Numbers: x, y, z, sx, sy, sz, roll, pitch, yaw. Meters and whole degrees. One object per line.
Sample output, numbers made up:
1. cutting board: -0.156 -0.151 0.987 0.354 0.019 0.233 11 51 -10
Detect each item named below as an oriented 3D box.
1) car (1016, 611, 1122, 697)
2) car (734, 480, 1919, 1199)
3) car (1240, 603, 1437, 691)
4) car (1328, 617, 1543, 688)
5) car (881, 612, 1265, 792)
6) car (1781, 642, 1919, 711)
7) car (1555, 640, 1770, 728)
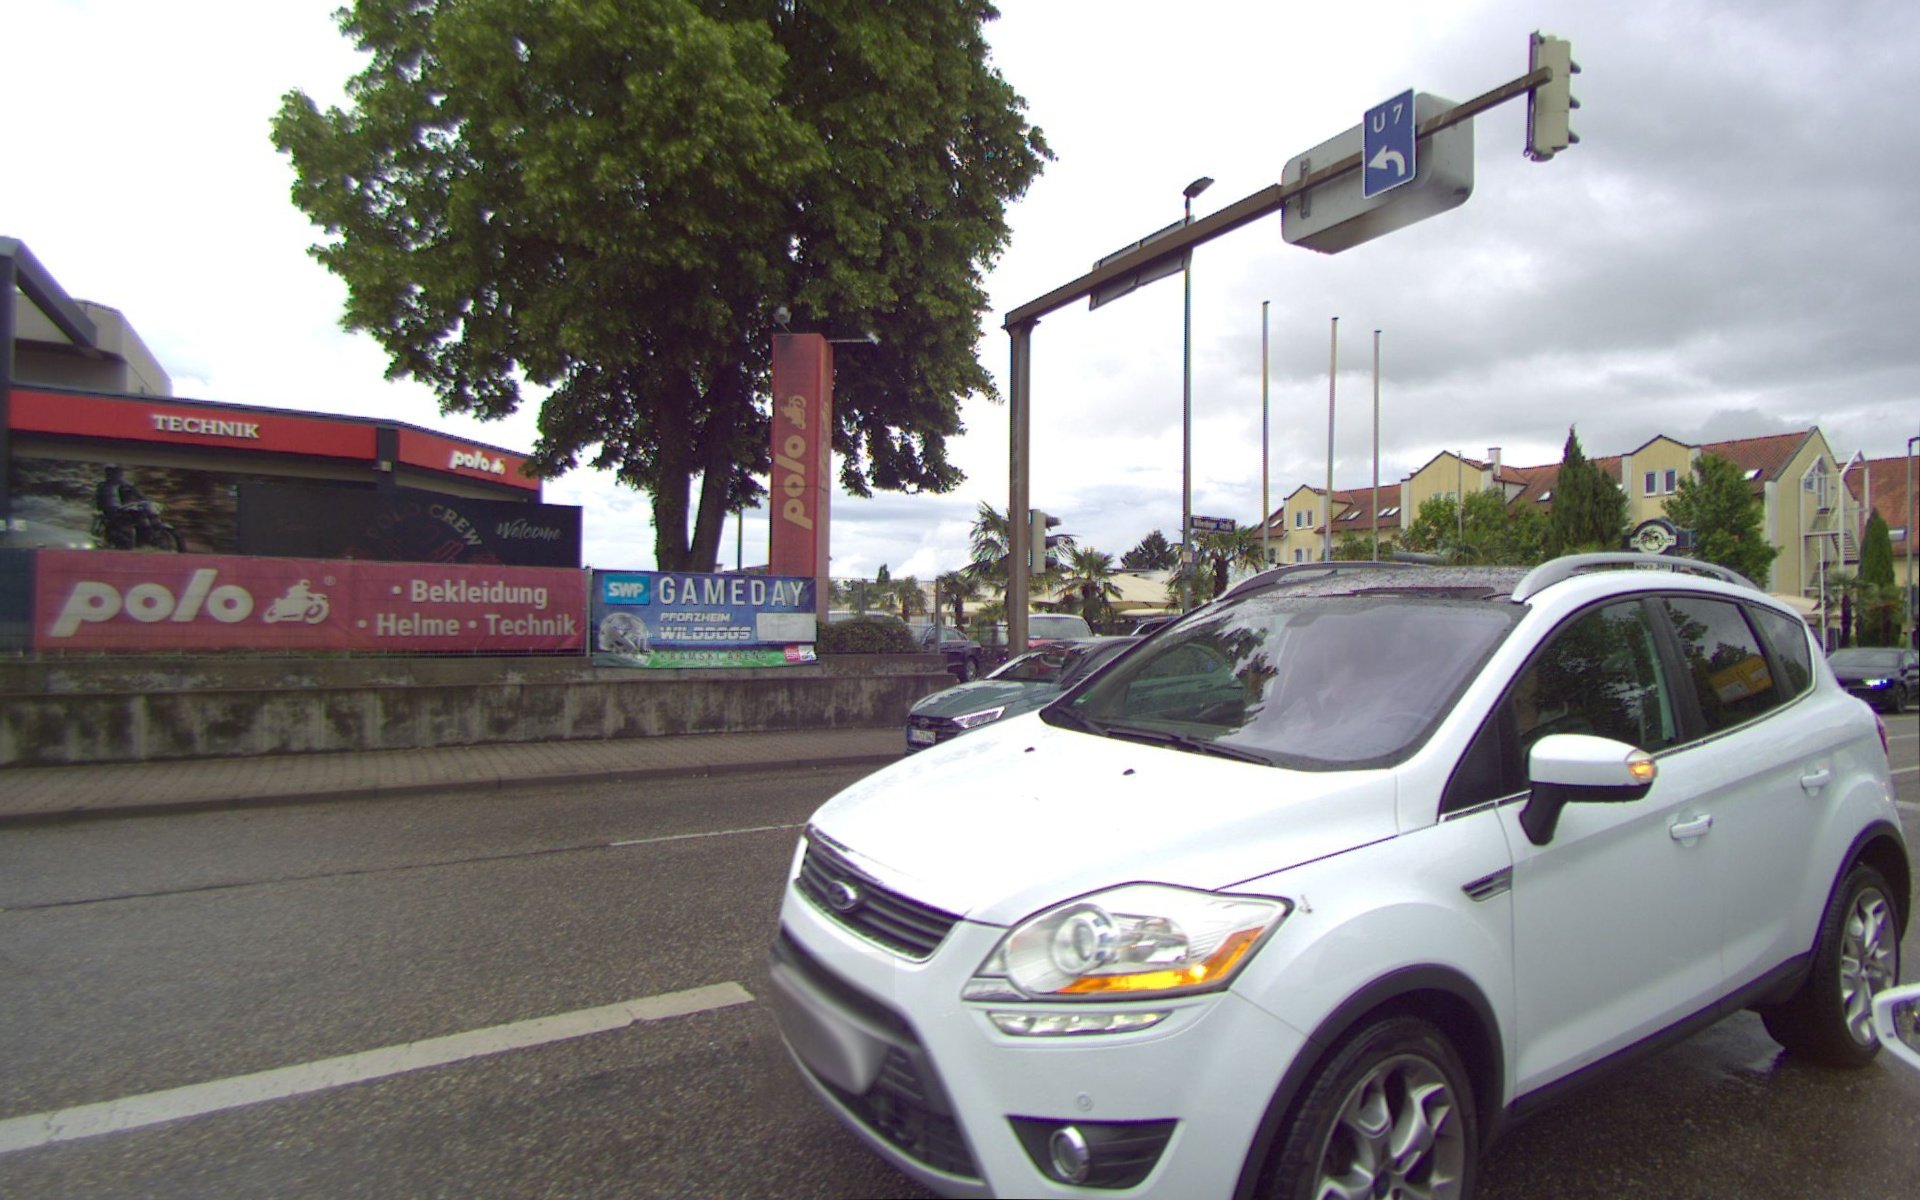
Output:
1. car: 2.078 1.056 20.033 1.633 1.523 3.619 1 -2 -1
2. car: 1.575 0.695 3.451 4.248 1.671 1.830 1 -1 -31
3. car: 9.507 1.186 25.303 4.324 2.040 1.996 -2 -3 32
4. car: 12.549 1.420 26.623 4.927 1.724 1.996 -2 -5 32
5. car: 1.282 0.971 10.913 3.954 1.639 1.668 1 -2 -31
6. car: 20.409 1.667 22.665 4.357 1.418 1.593 1 -3 -32
7. car: 12.200 1.376 17.393 3.901 1.349 1.614 1 -2 -31
